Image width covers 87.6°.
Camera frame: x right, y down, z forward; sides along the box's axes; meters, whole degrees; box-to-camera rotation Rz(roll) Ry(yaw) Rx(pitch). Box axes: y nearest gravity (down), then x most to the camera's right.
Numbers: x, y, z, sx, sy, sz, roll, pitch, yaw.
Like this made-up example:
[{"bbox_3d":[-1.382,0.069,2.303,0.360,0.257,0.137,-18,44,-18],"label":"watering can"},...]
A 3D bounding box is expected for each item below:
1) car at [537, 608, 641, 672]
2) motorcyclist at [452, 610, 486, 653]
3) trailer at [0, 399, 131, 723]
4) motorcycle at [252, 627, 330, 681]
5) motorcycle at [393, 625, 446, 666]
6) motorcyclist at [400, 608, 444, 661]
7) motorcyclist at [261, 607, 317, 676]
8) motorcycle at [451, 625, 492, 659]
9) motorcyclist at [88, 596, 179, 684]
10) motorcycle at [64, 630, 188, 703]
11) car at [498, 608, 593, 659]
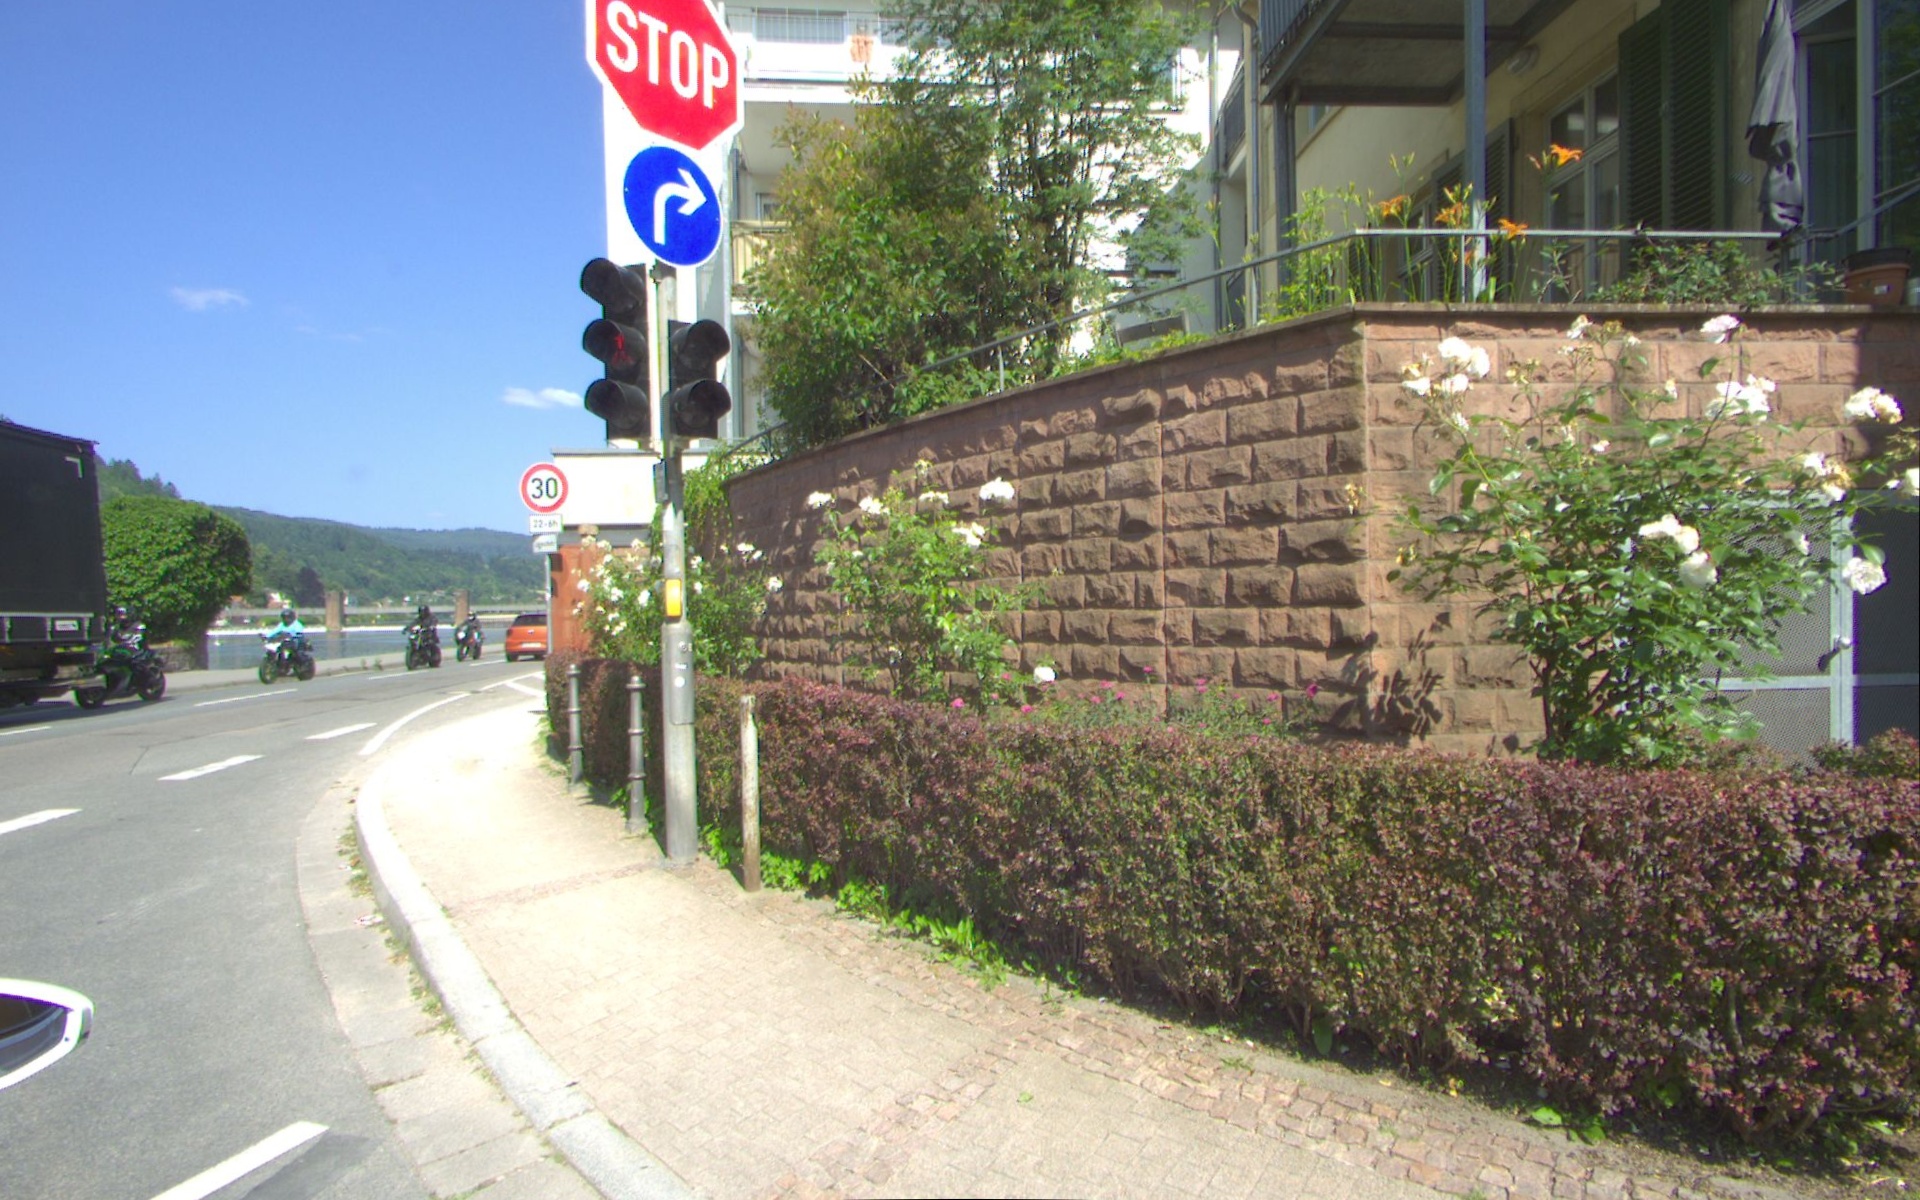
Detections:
[{"bbox_3d":[-8.980,0.932,24.512,1.661,1.417,3.737,1,-1,-9],"label":"car"},{"bbox_3d":[-15.987,1.012,32.635,0.706,1.384,0.936,-1,0,-8],"label":"motorcyclist"},{"bbox_3d":[-13.084,-0.484,8.001,2.788,4.158,13.766,-3,0,-7],"label":"trailer"},{"bbox_3d":[-15.613,1.232,23.429,0.623,1.138,2.092,-3,0,-8],"label":"motorcycle"},{"bbox_3d":[-14.575,1.211,27.058,0.646,1.038,1.814,-1,0,-8],"label":"motorcycle"},{"bbox_3d":[-14.539,0.926,27.089,0.774,1.384,0.800,-1,0,-8],"label":"motorcyclist"},{"bbox_3d":[-15.607,0.942,23.308,0.653,1.545,0.991,-3,0,-8],"label":"motorcyclist"},{"bbox_3d":[-15.977,1.370,32.796,0.646,1.038,1.814,-1,0,-8],"label":"motorcycle"},{"bbox_3d":[-14.649,0.696,17.778,0.766,1.479,0.991,-3,0,-8],"label":"motorcyclist"},{"bbox_3d":[-14.670,1.141,17.696,0.623,1.138,2.092,-3,0,-8],"label":"motorcycle"},{"bbox_3d":[-12.581,0.978,30.623,1.697,1.424,4.016,-1,0,-8],"label":"car"}]
